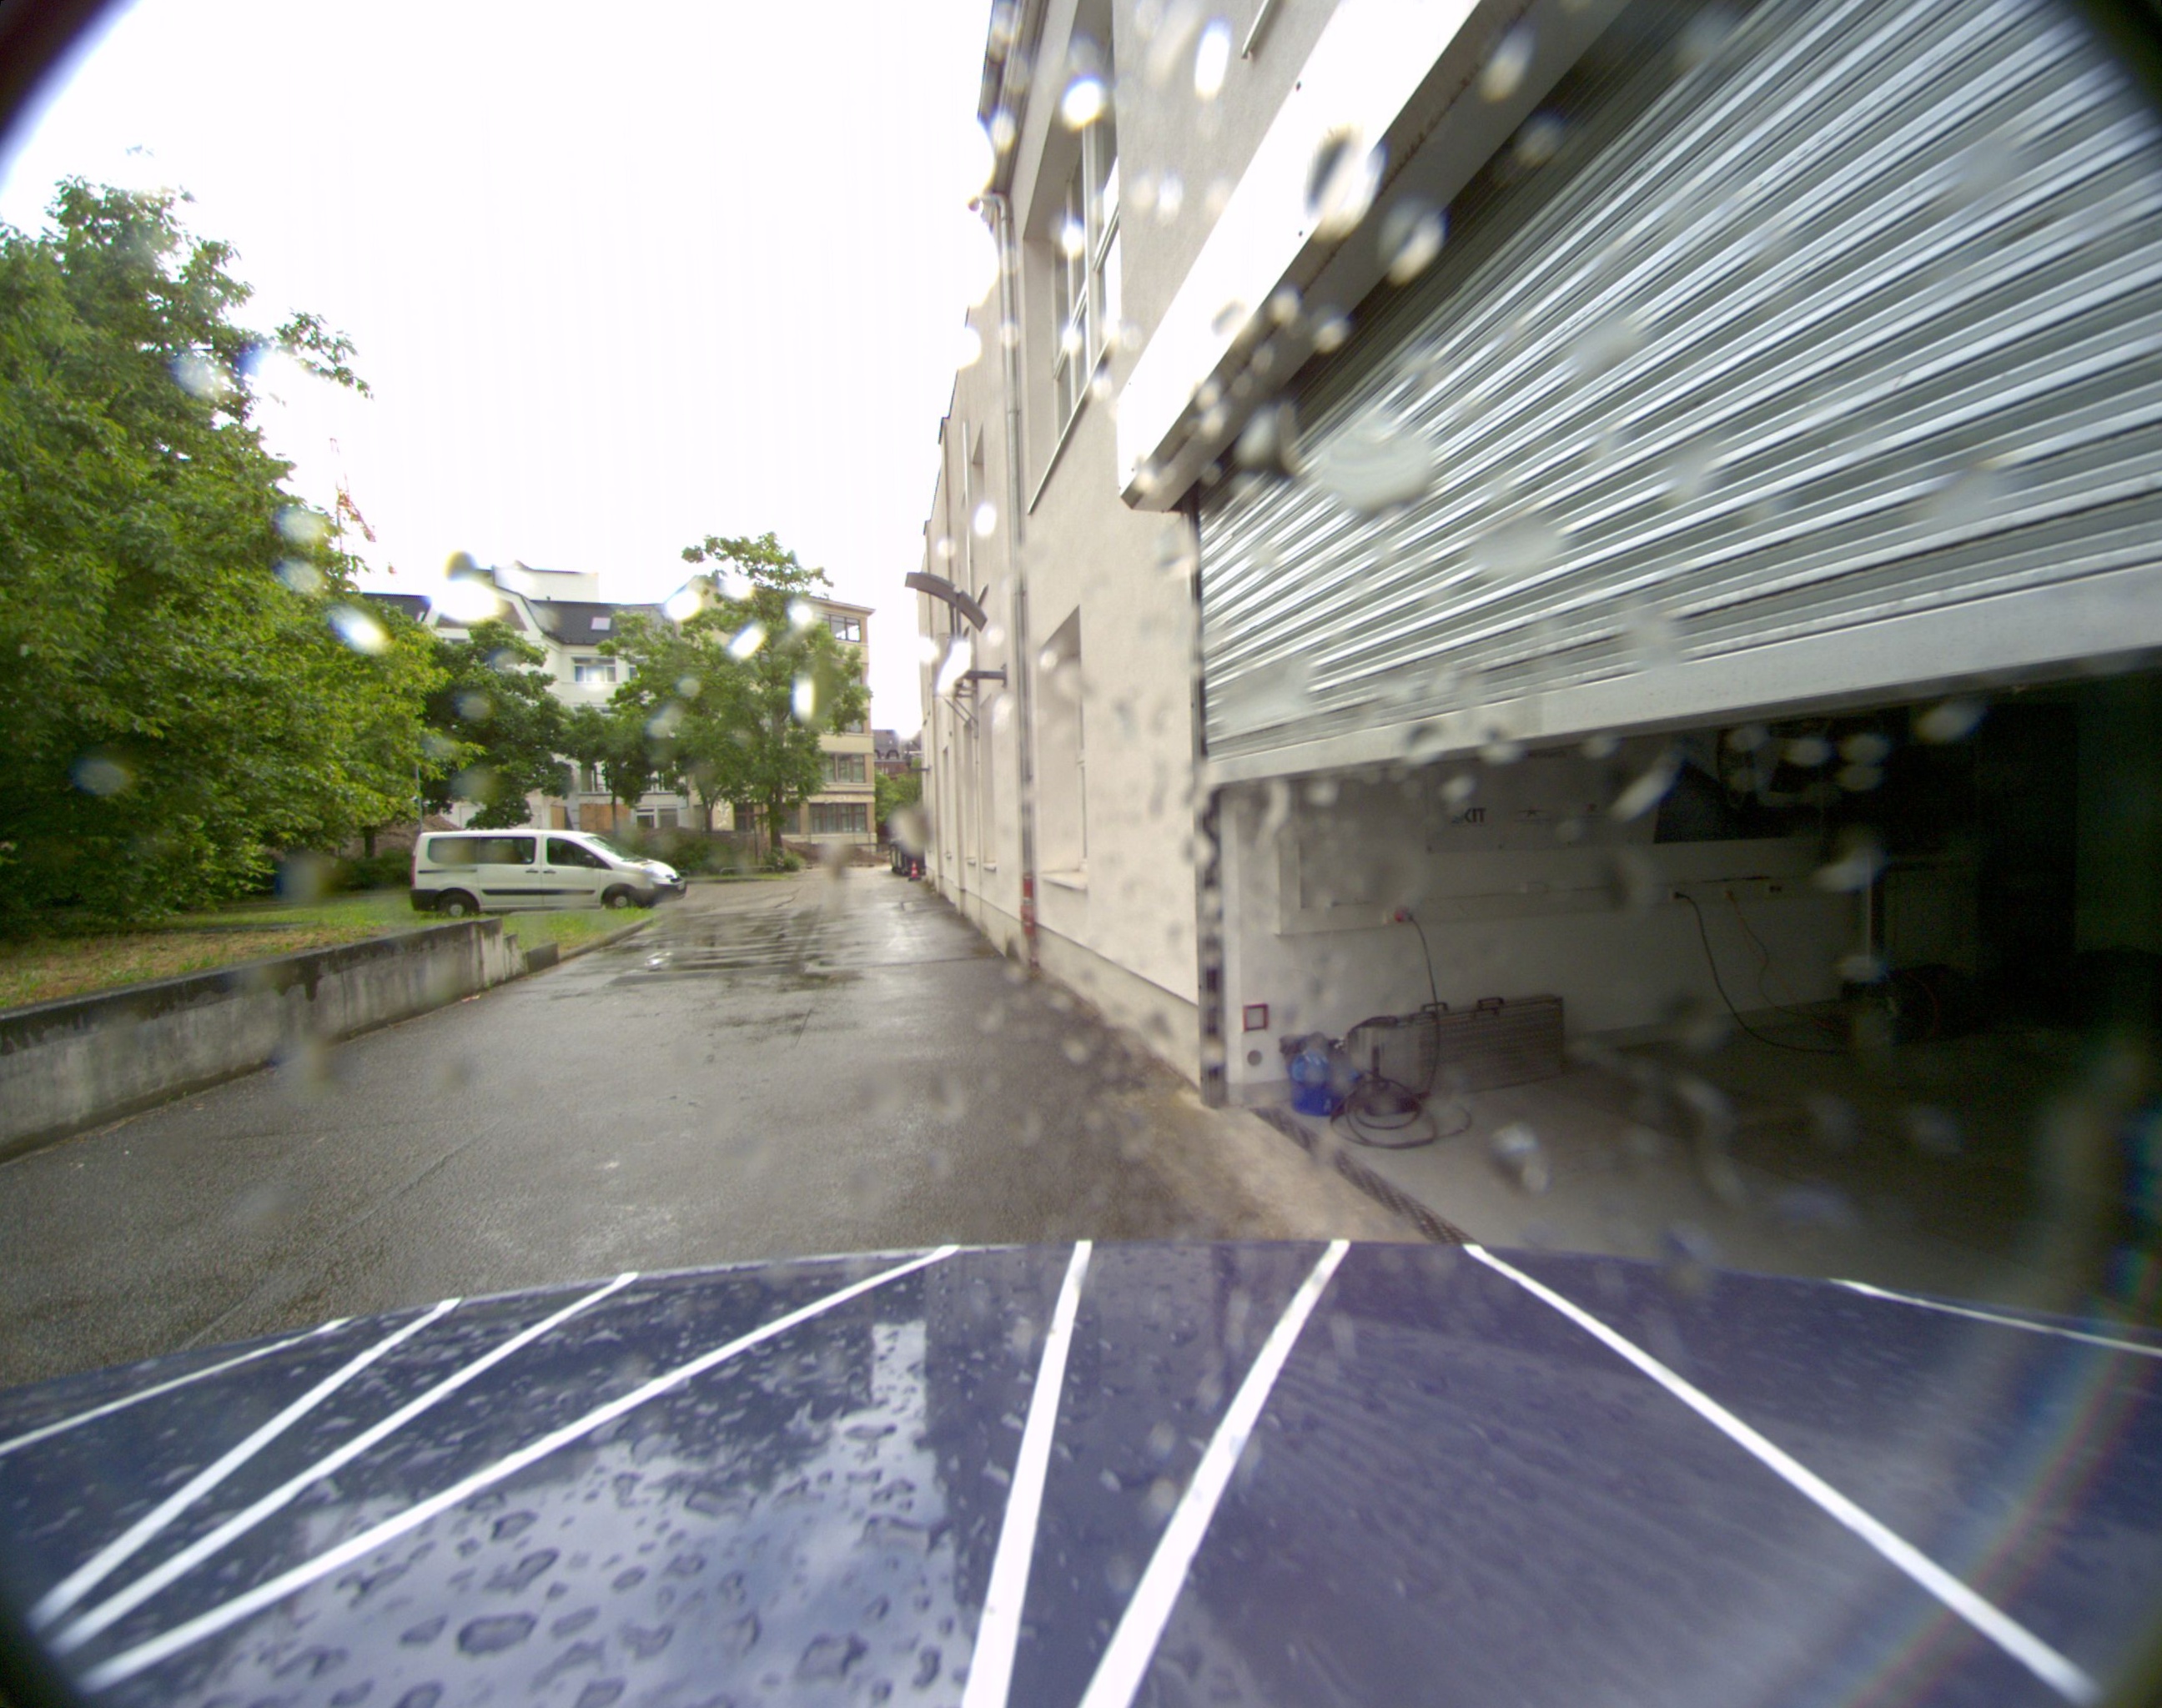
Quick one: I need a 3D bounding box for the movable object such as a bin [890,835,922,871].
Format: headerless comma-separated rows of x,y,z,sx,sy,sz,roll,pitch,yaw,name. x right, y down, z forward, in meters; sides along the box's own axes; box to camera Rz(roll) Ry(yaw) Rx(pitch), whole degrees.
-7.676,-0.056,33.364,1.104,1.465,1.484,-3,3,-5,movable object such as a bin

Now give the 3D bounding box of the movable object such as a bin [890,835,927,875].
-6.600,0.011,29.066,1.169,1.475,1.494,-1,2,-20,movable object such as a bin

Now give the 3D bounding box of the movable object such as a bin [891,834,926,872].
-7.251,-0.039,31.894,1.169,1.474,1.400,-3,1,-22,movable object such as a bin

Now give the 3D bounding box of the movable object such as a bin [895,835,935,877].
-6.026,0.046,27.544,1.169,1.475,1.591,-1,2,-20,movable object such as a bin

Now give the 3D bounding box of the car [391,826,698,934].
-11.339,0.462,16.526,4.891,1.915,2.096,-3,3,-13,car
